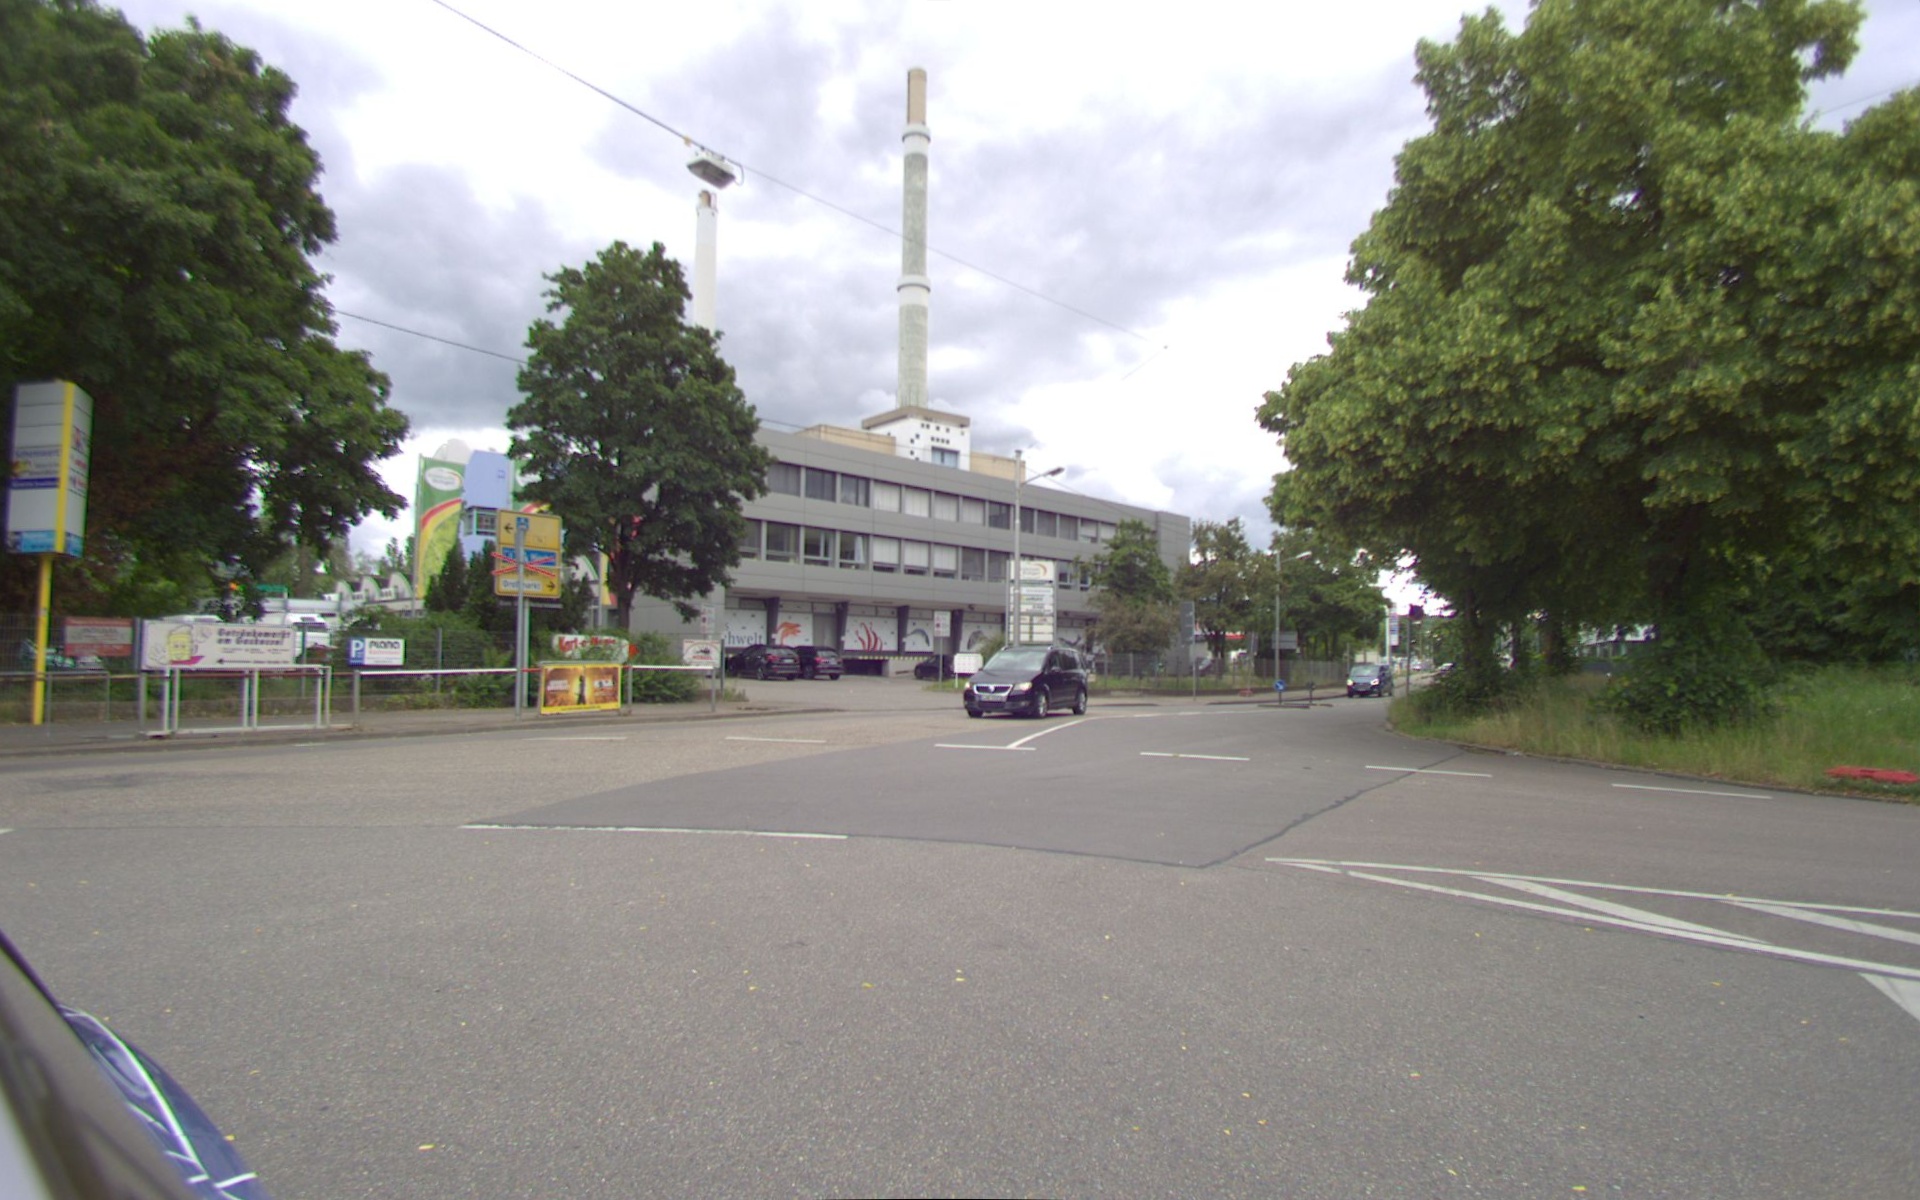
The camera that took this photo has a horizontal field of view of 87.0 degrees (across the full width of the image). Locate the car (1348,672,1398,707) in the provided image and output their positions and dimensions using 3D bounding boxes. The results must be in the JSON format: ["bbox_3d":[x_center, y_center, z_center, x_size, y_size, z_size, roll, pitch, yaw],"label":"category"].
[{"bbox_3d":[25.141,5.390,61.490,1.829,1.960,4.746,-2,-4,35],"label":"car"}]

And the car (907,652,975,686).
[{"bbox_3d":[-1.048,3.718,54.996,1.723,1.564,3.614,-1,0,-43],"label":"car"}]

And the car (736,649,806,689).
[{"bbox_3d":[-9.151,3.277,48.855,1.750,1.691,3.577,-1,0,-42],"label":"car"}]

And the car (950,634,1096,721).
[{"bbox_3d":[1.547,1.792,22.994,1.823,1.785,4.191,-2,-6,26],"label":"car"}]

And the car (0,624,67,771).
[{"bbox_3d":[-11.642,0.933,9.060,1.997,1.469,5.155,-6,-7,37],"label":"car"}]

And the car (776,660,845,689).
[{"bbox_3d":[-7.497,3.704,50.679,1.750,1.187,3.577,-1,0,-42],"label":"car"}]
